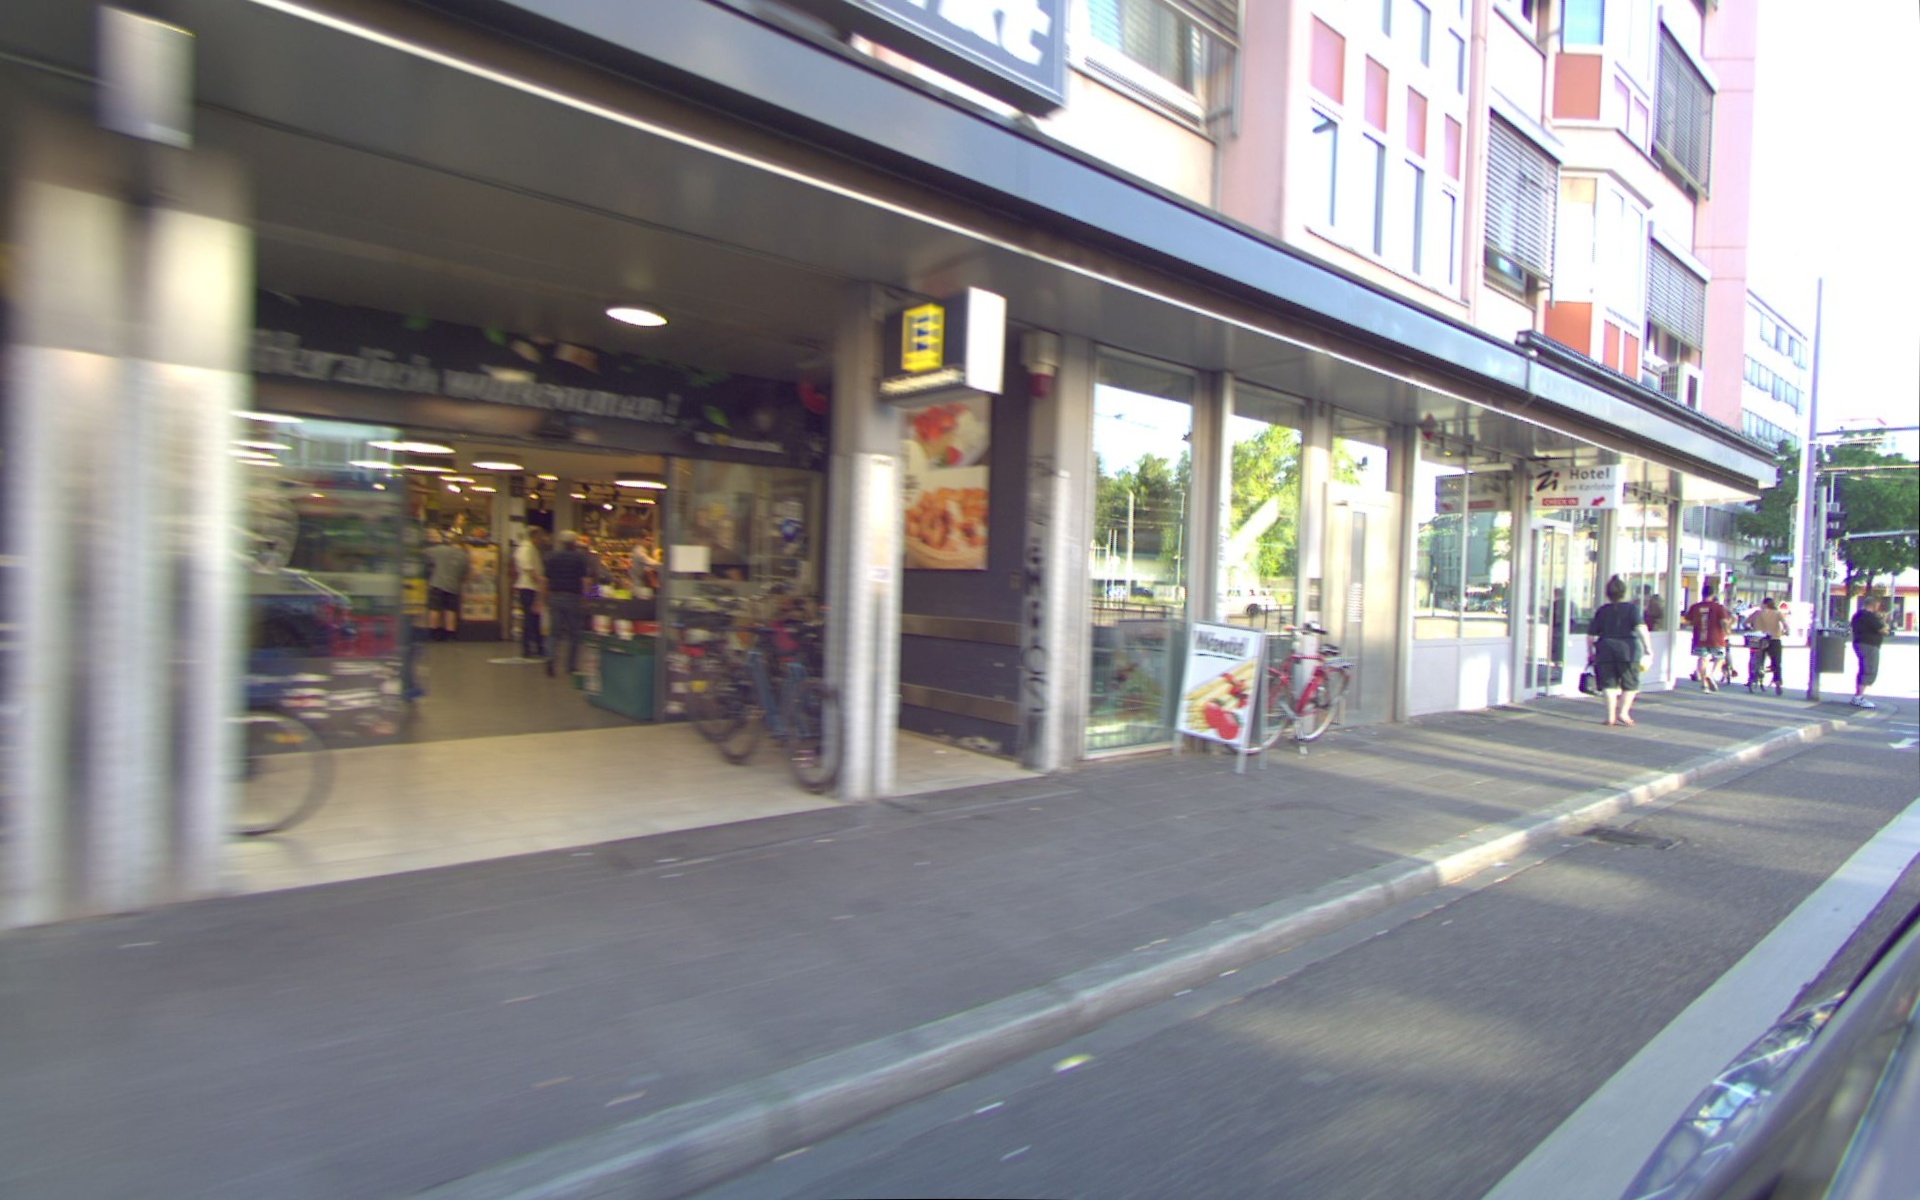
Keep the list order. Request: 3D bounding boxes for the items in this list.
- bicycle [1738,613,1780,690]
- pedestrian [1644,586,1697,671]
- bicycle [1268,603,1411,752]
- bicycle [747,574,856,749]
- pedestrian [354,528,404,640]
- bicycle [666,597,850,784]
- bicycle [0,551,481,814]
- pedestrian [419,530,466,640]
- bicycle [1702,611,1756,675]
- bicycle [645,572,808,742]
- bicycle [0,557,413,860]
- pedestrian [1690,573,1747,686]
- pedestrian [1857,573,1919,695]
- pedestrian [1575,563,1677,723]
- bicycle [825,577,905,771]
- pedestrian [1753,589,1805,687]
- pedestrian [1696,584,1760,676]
[{"bbox_3d":[13.695,0.854,17.369,0.427,1.229,1.802,1,0,34],"label":"bicycle"},{"bbox_3d":[14.058,0.557,20.032,0.659,1.643,0.647,1,0,14],"label":"pedestrian"},{"bbox_3d":[3.213,0.607,8.516,1.382,1.141,0.516,1,1,-42],"label":"bicycle"},{"bbox_3d":[-1.200,0.415,7.893,0.415,1.215,1.479,2,1,7],"label":"bicycle"},{"bbox_3d":[-9.010,-0.248,15.698,0.622,1.705,0.415,1,1,-28],"label":"pedestrian"},{"bbox_3d":[-1.367,0.536,6.668,0.427,1.054,1.511,3,0,-43],"label":"bicycle"},{"bbox_3d":[-3.716,0.406,5.362,2.040,1.252,0.558,1,1,-16],"label":"bicycle"},{"bbox_3d":[-8.198,-0.239,16.029,0.622,1.705,0.415,1,1,-28],"label":"pedestrian"},{"bbox_3d":[15.117,0.822,19.928,0.478,1.187,1.744,1,0,25],"label":"bicycle"},{"bbox_3d":[-1.815,0.401,8.061,0.418,1.215,1.469,2,1,25],"label":"bicycle"},{"bbox_3d":[-3.688,0.453,4.577,2.040,1.252,0.558,1,1,-16],"label":"bicycle"},{"bbox_3d":[12.269,0.460,16.361,0.669,1.784,0.670,1,0,42],"label":"pedestrian"},{"bbox_3d":[14.650,0.514,15.972,0.676,1.866,0.598,1,0,37],"label":"pedestrian"},{"bbox_3d":[7.208,0.443,10.960,0.486,1.633,0.709,1,4,-40],"label":"pedestrian"},{"bbox_3d":[-0.657,0.457,7.202,0.473,1.215,1.483,2,1,-4],"label":"bicycle"},{"bbox_3d":[14.049,0.636,17.376,0.650,1.627,0.588,1,0,36],"label":"pedestrian"},{"bbox_3d":[14.995,0.567,19.771,0.819,1.732,0.779,1,0,24],"label":"pedestrian"}]
